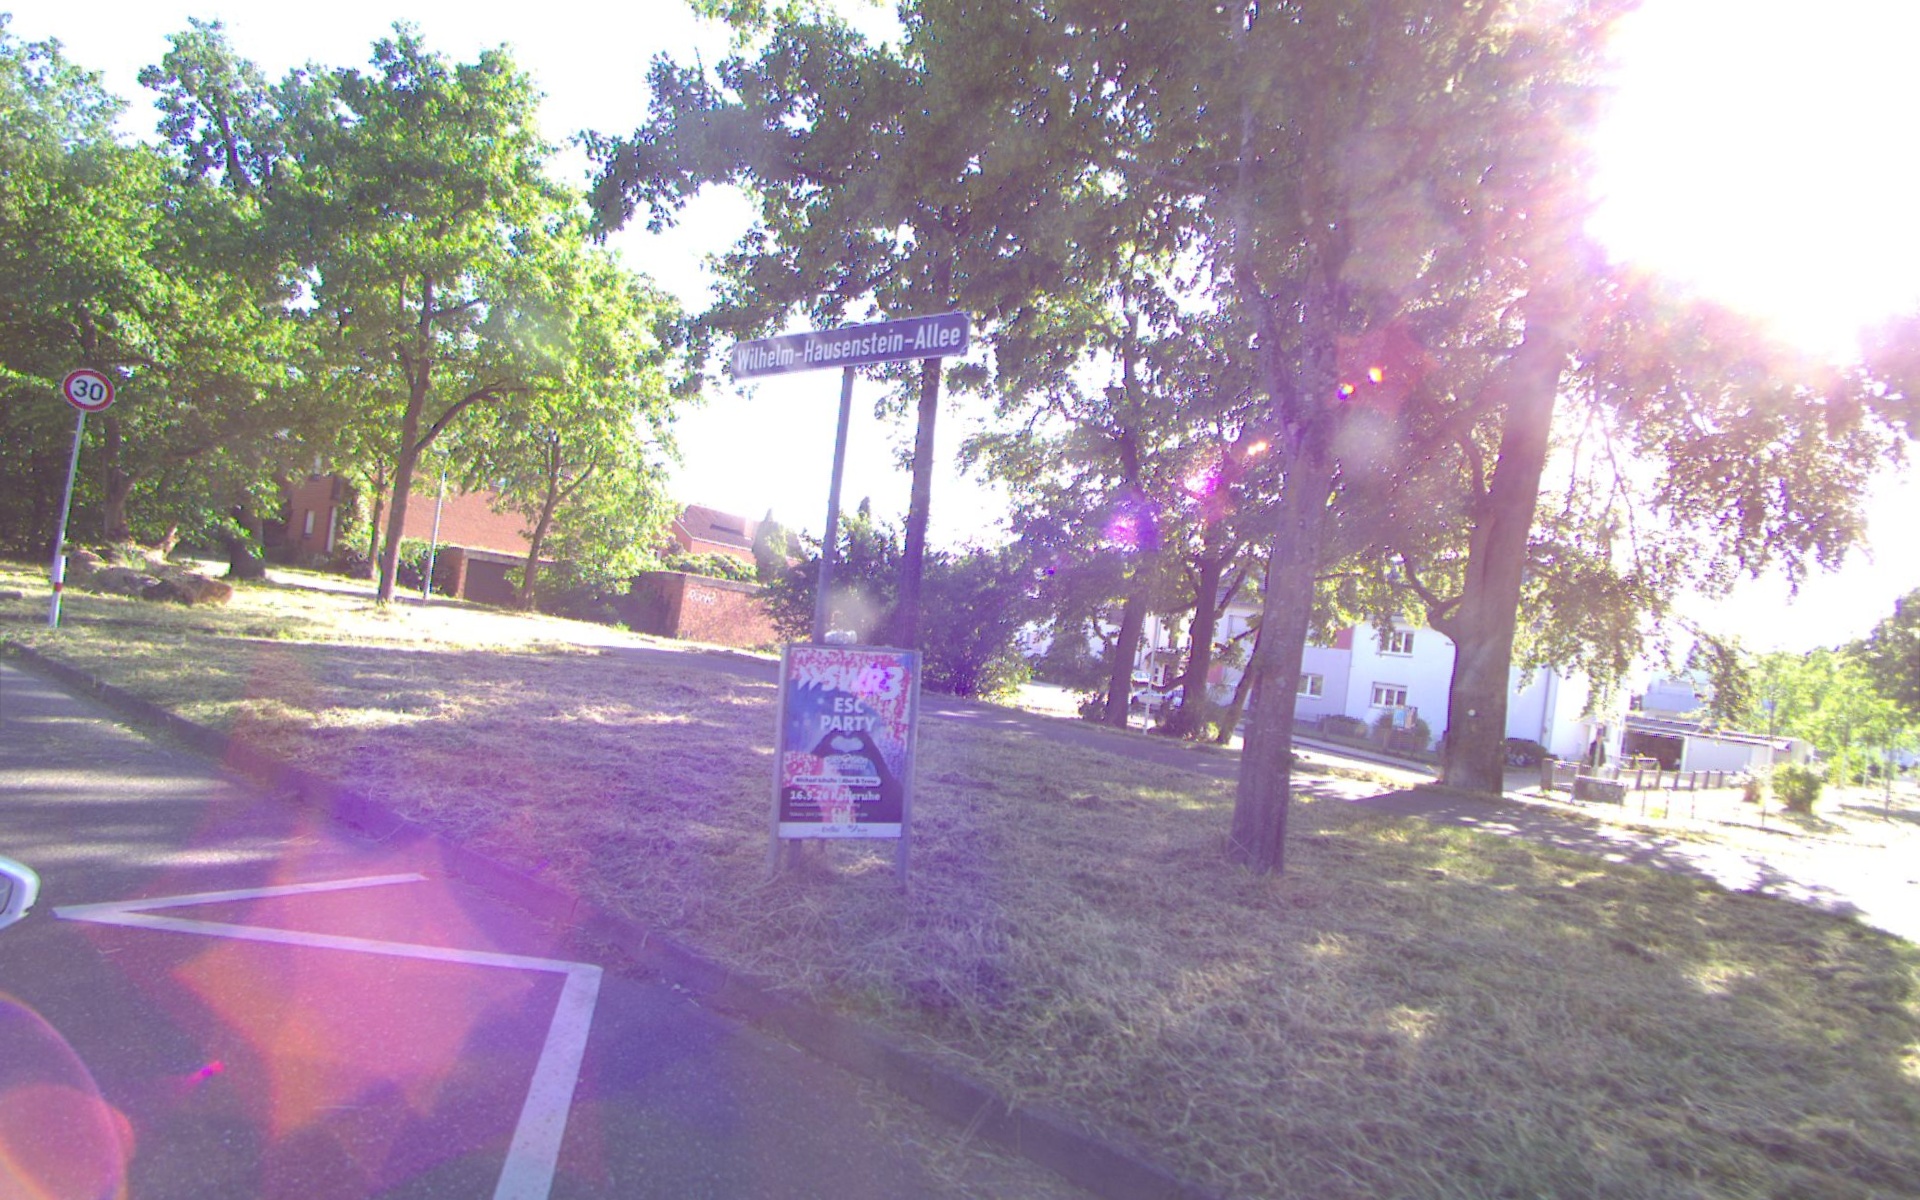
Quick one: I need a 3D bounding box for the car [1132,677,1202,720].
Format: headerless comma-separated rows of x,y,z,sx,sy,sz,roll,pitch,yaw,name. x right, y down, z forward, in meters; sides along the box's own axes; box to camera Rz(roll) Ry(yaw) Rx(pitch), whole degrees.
9.999,4.765,48.801,1.513,1.569,3.162,9,-2,-27,car

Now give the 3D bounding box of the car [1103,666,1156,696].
11.657,5.584,69.257,3.614,1.515,1.435,10,-3,-39,car

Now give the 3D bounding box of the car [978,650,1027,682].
2.776,4.338,66.187,1.786,1.634,3.625,9,-2,-19,car
